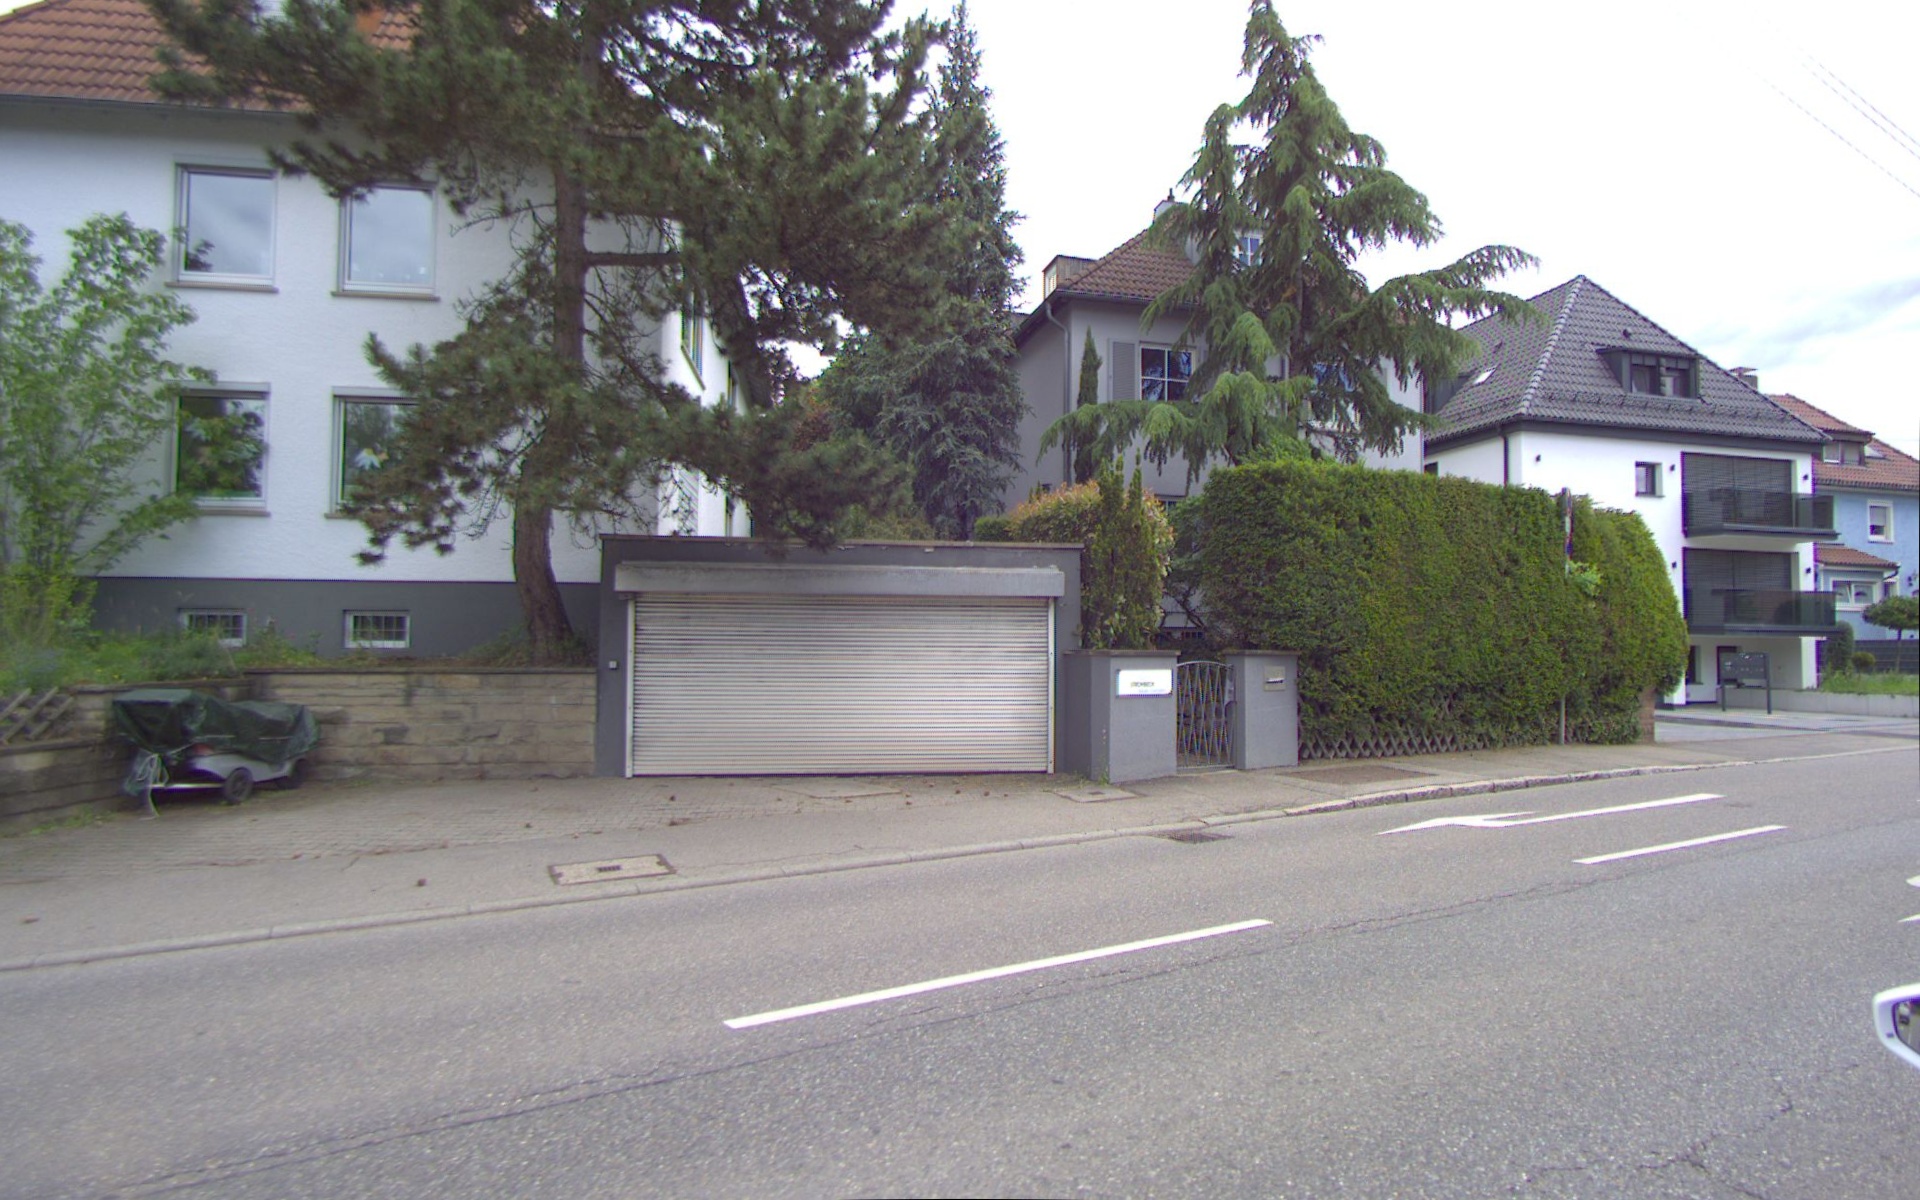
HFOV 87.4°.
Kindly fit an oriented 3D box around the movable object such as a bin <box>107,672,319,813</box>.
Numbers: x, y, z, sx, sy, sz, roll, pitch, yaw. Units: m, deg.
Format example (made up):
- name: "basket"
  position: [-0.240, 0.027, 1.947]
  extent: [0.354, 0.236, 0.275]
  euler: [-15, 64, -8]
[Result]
- name: "movable object such as a bin"
  position: [-6.795, 1.253, 9.249]
  extent: [0.702, 1.095, 1.598]
  euler: [1, -1, 2]
